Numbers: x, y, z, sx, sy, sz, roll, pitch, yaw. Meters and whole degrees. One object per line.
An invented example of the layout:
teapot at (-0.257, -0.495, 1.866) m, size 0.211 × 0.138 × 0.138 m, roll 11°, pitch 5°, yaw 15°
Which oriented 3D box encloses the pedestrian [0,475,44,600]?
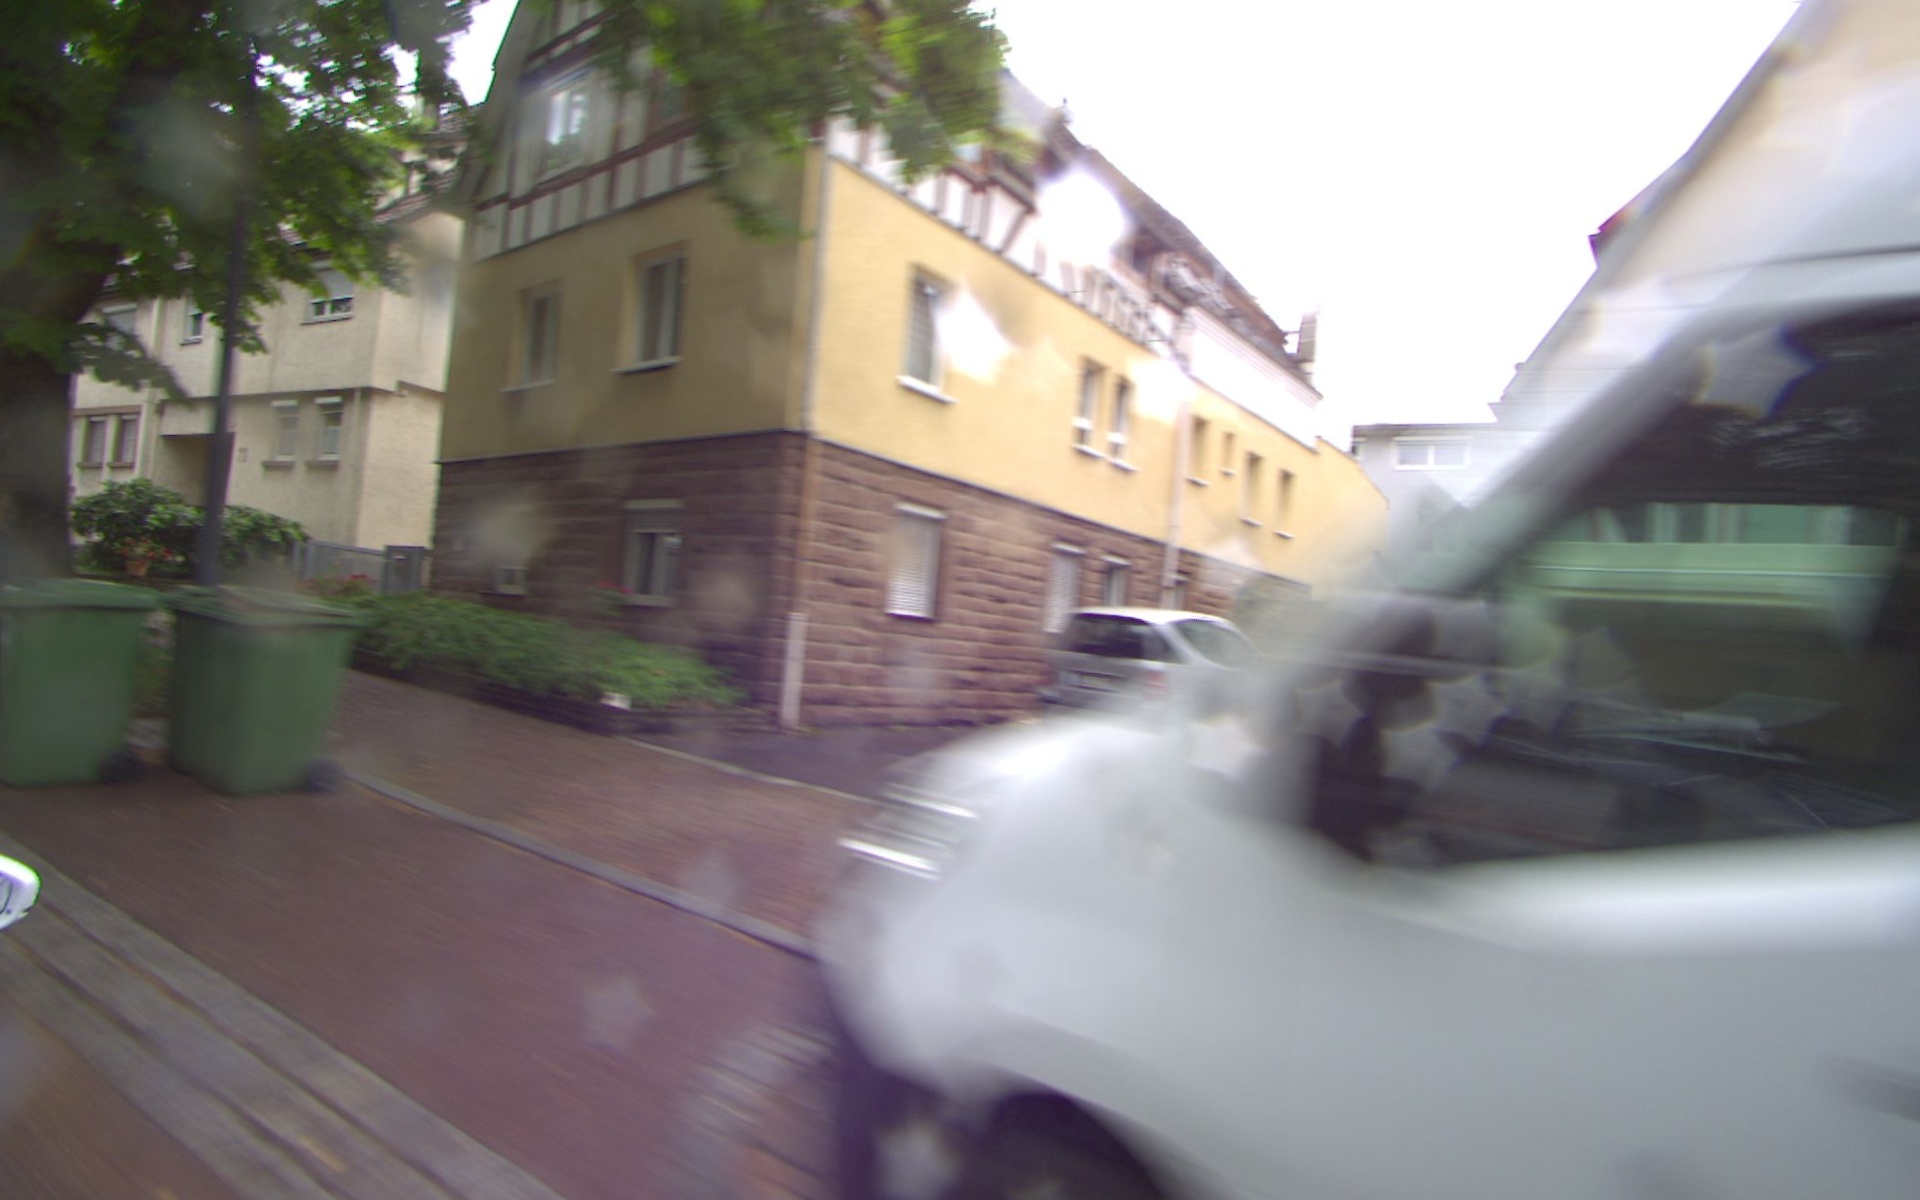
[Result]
pedestrian at (-13.477, -0.901, 13.991) m, size 0.951 × 1.672 × 0.784 m, roll 6°, pitch 0°, yaw -45°

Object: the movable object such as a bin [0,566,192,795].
movable object such as a bin at (-4.892, 0.410, 5.460) m, size 0.864 × 1.088 × 0.799 m, roll 7°, pitch -1°, yaw 31°

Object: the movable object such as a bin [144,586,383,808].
movable object such as a bin at (-4.002, 0.537, 5.797) m, size 0.864 × 1.088 × 0.749 m, roll 7°, pitch -1°, yaw 31°

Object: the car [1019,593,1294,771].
car at (2.344, 0.887, 11.488) m, size 1.637 × 1.616 × 3.281 m, roll 5°, pitch 0°, yaw 39°

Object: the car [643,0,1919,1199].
car at (2.281, 0.589, 1.537) m, size 5.345 × 2.489 × 2.144 m, roll 6°, pitch -1°, yaw 32°

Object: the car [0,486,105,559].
car at (-32.409, -2.826, 34.235) m, size 1.966 × 1.919 × 4.478 m, roll 6°, pitch -5°, yaw 30°
